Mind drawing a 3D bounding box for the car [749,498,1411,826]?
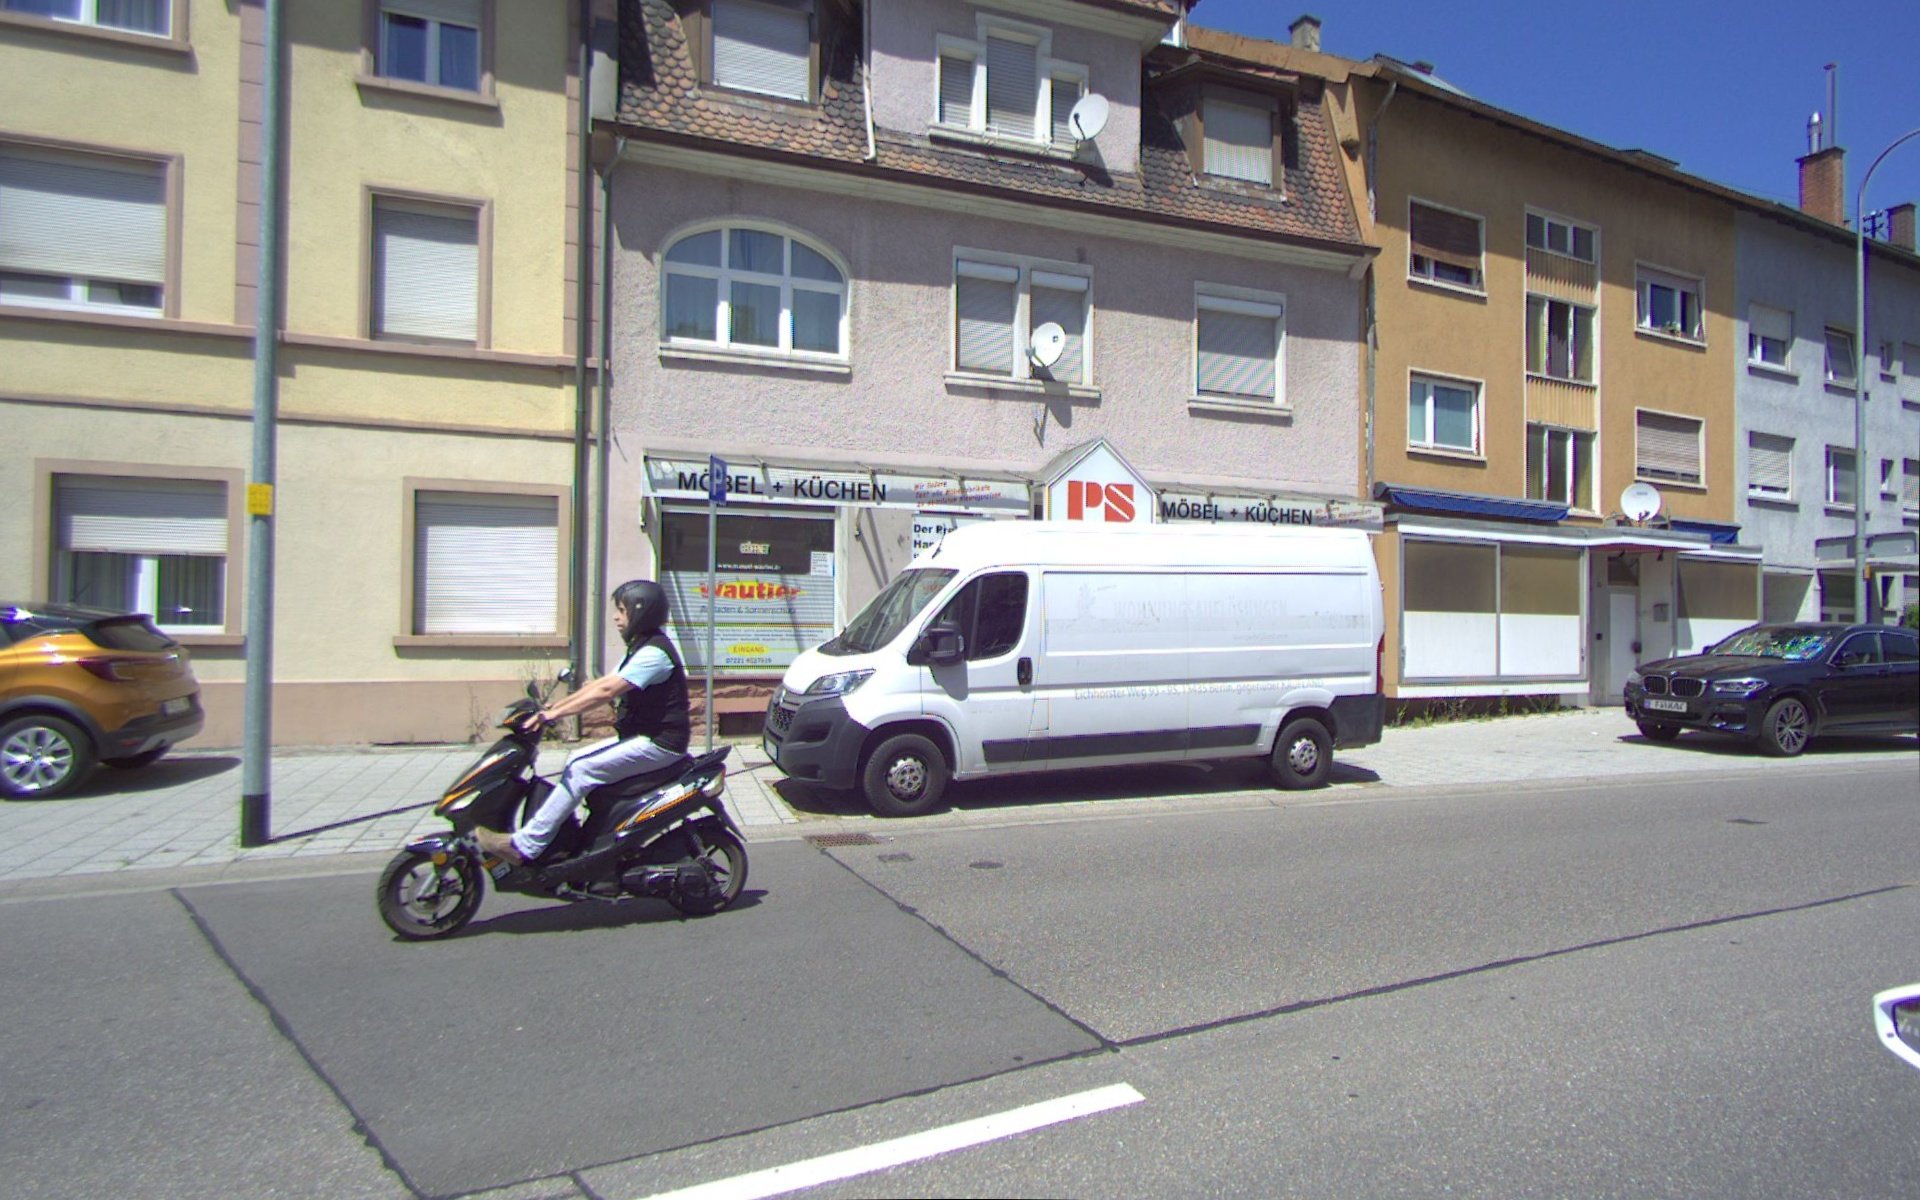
[{"bbox_3d":[1.175,0.507,9.666,6.025,2.482,2.116,1,0,-21],"label":"car"}]

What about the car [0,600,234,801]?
[{"bbox_3d":[-8.748,0.780,8.325,4.052,1.562,1.793,1,0,-19],"label":"car"}]

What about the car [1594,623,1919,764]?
[{"bbox_3d":[11.454,1.144,13.532,5.022,1.636,2.086,0,0,-15],"label":"car"}]

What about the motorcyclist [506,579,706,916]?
[{"bbox_3d":[-1.772,0.690,5.061,0.882,1.544,0.600,1,-2,-21],"label":"motorcyclist"}]

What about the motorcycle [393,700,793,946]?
[{"bbox_3d":[-1.782,1.048,5.059,1.772,1.013,0.605,1,-2,-21],"label":"motorcycle"}]
